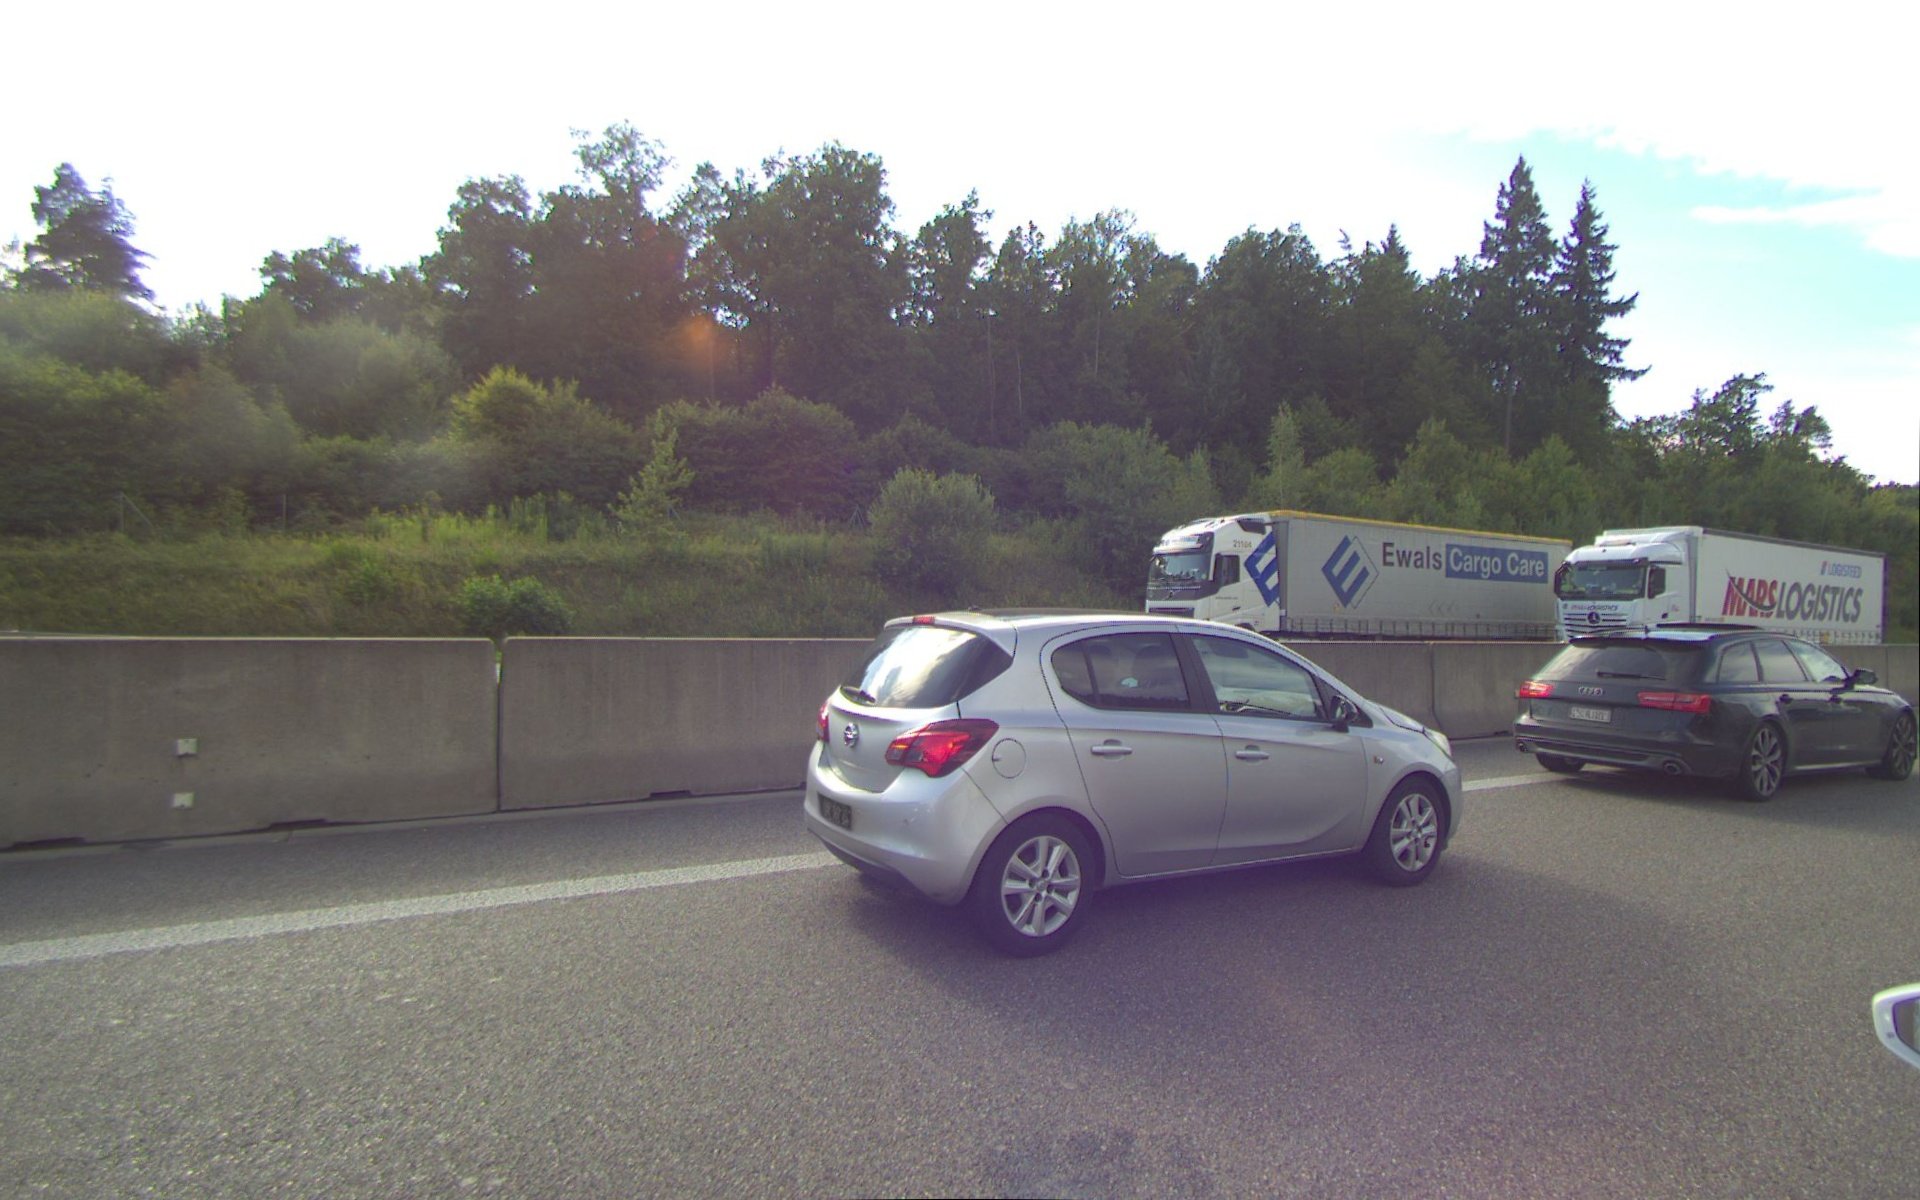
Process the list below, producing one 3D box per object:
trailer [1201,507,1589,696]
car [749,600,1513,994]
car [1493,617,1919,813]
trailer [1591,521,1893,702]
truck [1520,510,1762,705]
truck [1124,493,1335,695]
[{"bbox_3d":[13.859,0.254,30.901,14.483,4.894,2.912,2,0,-31],"label":"trailer"},{"bbox_3d":[1.042,0.786,5.556,3.993,1.485,1.739,1,-1,-30],"label":"car"},{"bbox_3d":[7.494,0.964,9.789,4.691,1.475,1.834,1,0,-30],"label":"car"},{"bbox_3d":[26.225,0.531,33.259,13.676,5.141,3.073,2,0,-31],"label":"trailer"},{"bbox_3d":[20.144,0.292,29.636,7.058,5.169,3.073,2,0,-30],"label":"truck"},{"bbox_3d":[7.243,-0.091,27.006,4.710,4.923,2.917,2,0,-30],"label":"truck"}]
